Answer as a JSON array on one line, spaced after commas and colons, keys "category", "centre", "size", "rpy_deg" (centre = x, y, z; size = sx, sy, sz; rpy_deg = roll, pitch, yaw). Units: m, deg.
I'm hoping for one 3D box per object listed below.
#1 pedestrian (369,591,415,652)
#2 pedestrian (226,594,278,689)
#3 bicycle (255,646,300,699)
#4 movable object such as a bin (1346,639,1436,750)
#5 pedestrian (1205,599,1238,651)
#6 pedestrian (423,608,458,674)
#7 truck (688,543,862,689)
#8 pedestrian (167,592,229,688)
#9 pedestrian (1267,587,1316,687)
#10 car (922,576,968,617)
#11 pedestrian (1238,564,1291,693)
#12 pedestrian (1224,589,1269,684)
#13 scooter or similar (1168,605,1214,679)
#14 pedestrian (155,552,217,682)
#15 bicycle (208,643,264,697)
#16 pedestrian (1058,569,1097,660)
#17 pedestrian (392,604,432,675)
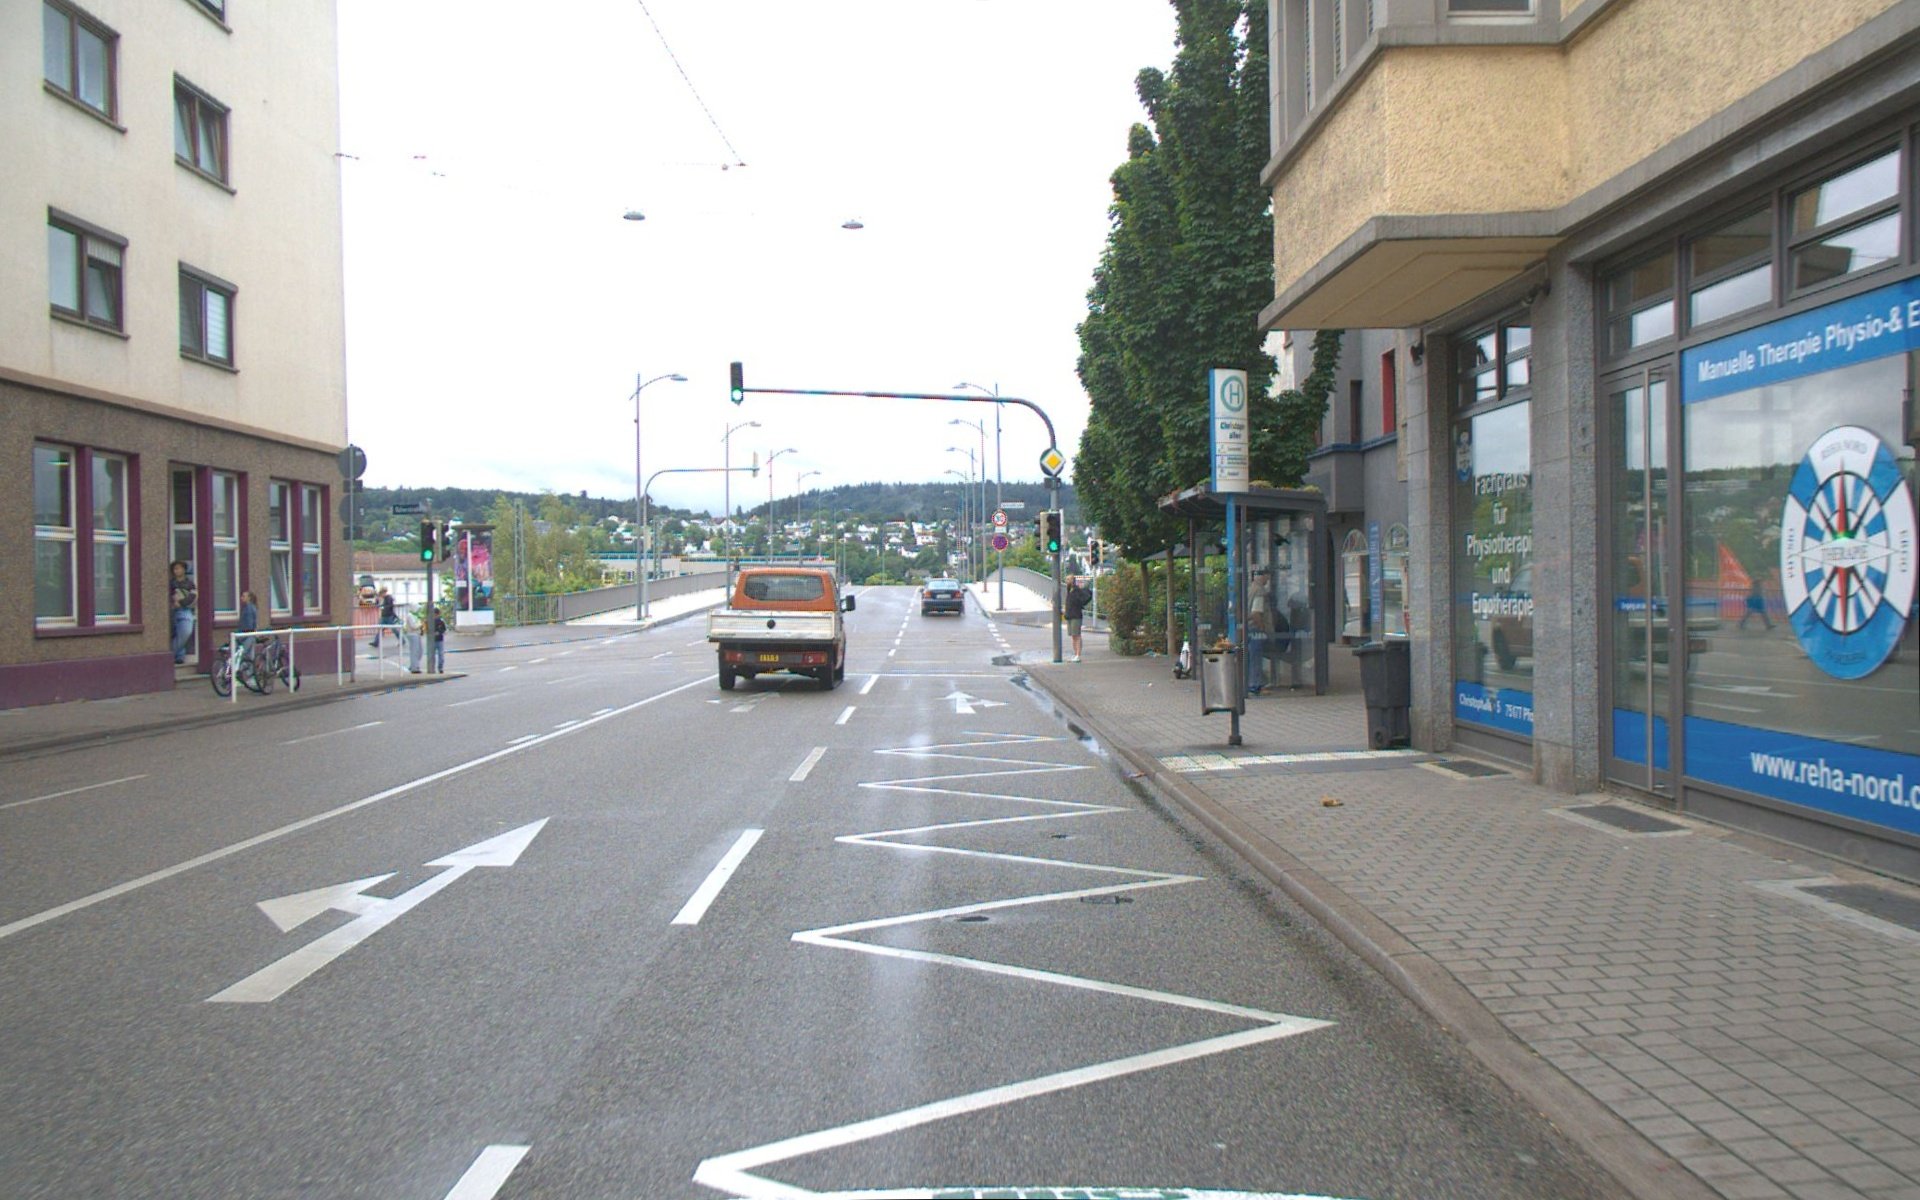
[{"category": "pedestrian", "centre": [-17.214, 0.652, 50.091], "size": [1.060, 1.788, 1.050], "rpy_deg": [-1, -1, -36]}, {"category": "pedestrian", "centre": [-11.997, 0.692, 28.048], "size": [0.563, 1.580, 0.739], "rpy_deg": [-1, 0, -4]}, {"category": "bicycle", "centre": [-11.006, 1.160, 26.696], "size": [0.259, 0.797, 1.111], "rpy_deg": [-1, 0, -1]}, {"category": "movable object such as a bin", "centre": [3.832, 0.831, 14.740], "size": [0.588, 0.942, 0.704], "rpy_deg": [-1, 0, -1]}, {"category": "pedestrian", "centre": [6.204, 0.581, 39.289], "size": [0.651, 1.210, 0.556], "rpy_deg": [-1, 0, -3]}, {"category": "pedestrian", "centre": [-11.217, 0.875, 35.729], "size": [0.533, 1.412, 0.649], "rpy_deg": [-1, 0, 1]}, {"category": "truck", "centre": [-2.962, 0.248, 27.721], "size": [2.351, 2.167, 5.313], "rpy_deg": [-1, 0, -1]}, {"category": "pedestrian", "centre": [-13.008, 0.674, 28.241], "size": [0.758, 1.605, 0.588], "rpy_deg": [-1, 0, -1]}, {"category": "pedestrian", "centre": [4.780, 0.526, 23.893], "size": [0.552, 1.421, 0.513], "rpy_deg": [-1, 0, -4]}, {"category": "car", "centre": [-0.580, -0.112, 64.355], "size": [1.718, 1.505, 3.999], "rpy_deg": [-1, 0, -1]}, {"category": "pedestrian", "centre": [4.170, 0.384, 22.682], "size": [0.606, 1.729, 0.656], "rpy_deg": [-1, 0, 3]}, {"category": "pedestrian", "centre": [4.238, 0.533, 24.470], "size": [0.523, 1.373, 0.596], "rpy_deg": [-1, 0, -2]}, {"category": "scooter or similar", "centre": [3.827, 0.683, 27.504], "size": [0.500, 1.193, 1.549], "rpy_deg": [-1, 0, -1]}, {"category": "pedestrian", "centre": [-12.985, 0.281, 27.763], "size": [0.697, 2.136, 0.730], "rpy_deg": [-1, 0, -4]}, {"category": "bicycle", "centre": [-11.402, 1.089, 26.068], "size": [0.259, 0.797, 1.421], "rpy_deg": [-1, 0, -1]}, {"category": "pedestrian", "centre": [2.470, 0.300, 34.878], "size": [0.718, 1.873, 0.630], "rpy_deg": [-1, 0, -3]}, {"category": "pedestrian", "centre": [-11.629, 0.825, 35.128], "size": [0.629, 1.483, 0.660], "rpy_deg": [-1, 0, -2]}]
